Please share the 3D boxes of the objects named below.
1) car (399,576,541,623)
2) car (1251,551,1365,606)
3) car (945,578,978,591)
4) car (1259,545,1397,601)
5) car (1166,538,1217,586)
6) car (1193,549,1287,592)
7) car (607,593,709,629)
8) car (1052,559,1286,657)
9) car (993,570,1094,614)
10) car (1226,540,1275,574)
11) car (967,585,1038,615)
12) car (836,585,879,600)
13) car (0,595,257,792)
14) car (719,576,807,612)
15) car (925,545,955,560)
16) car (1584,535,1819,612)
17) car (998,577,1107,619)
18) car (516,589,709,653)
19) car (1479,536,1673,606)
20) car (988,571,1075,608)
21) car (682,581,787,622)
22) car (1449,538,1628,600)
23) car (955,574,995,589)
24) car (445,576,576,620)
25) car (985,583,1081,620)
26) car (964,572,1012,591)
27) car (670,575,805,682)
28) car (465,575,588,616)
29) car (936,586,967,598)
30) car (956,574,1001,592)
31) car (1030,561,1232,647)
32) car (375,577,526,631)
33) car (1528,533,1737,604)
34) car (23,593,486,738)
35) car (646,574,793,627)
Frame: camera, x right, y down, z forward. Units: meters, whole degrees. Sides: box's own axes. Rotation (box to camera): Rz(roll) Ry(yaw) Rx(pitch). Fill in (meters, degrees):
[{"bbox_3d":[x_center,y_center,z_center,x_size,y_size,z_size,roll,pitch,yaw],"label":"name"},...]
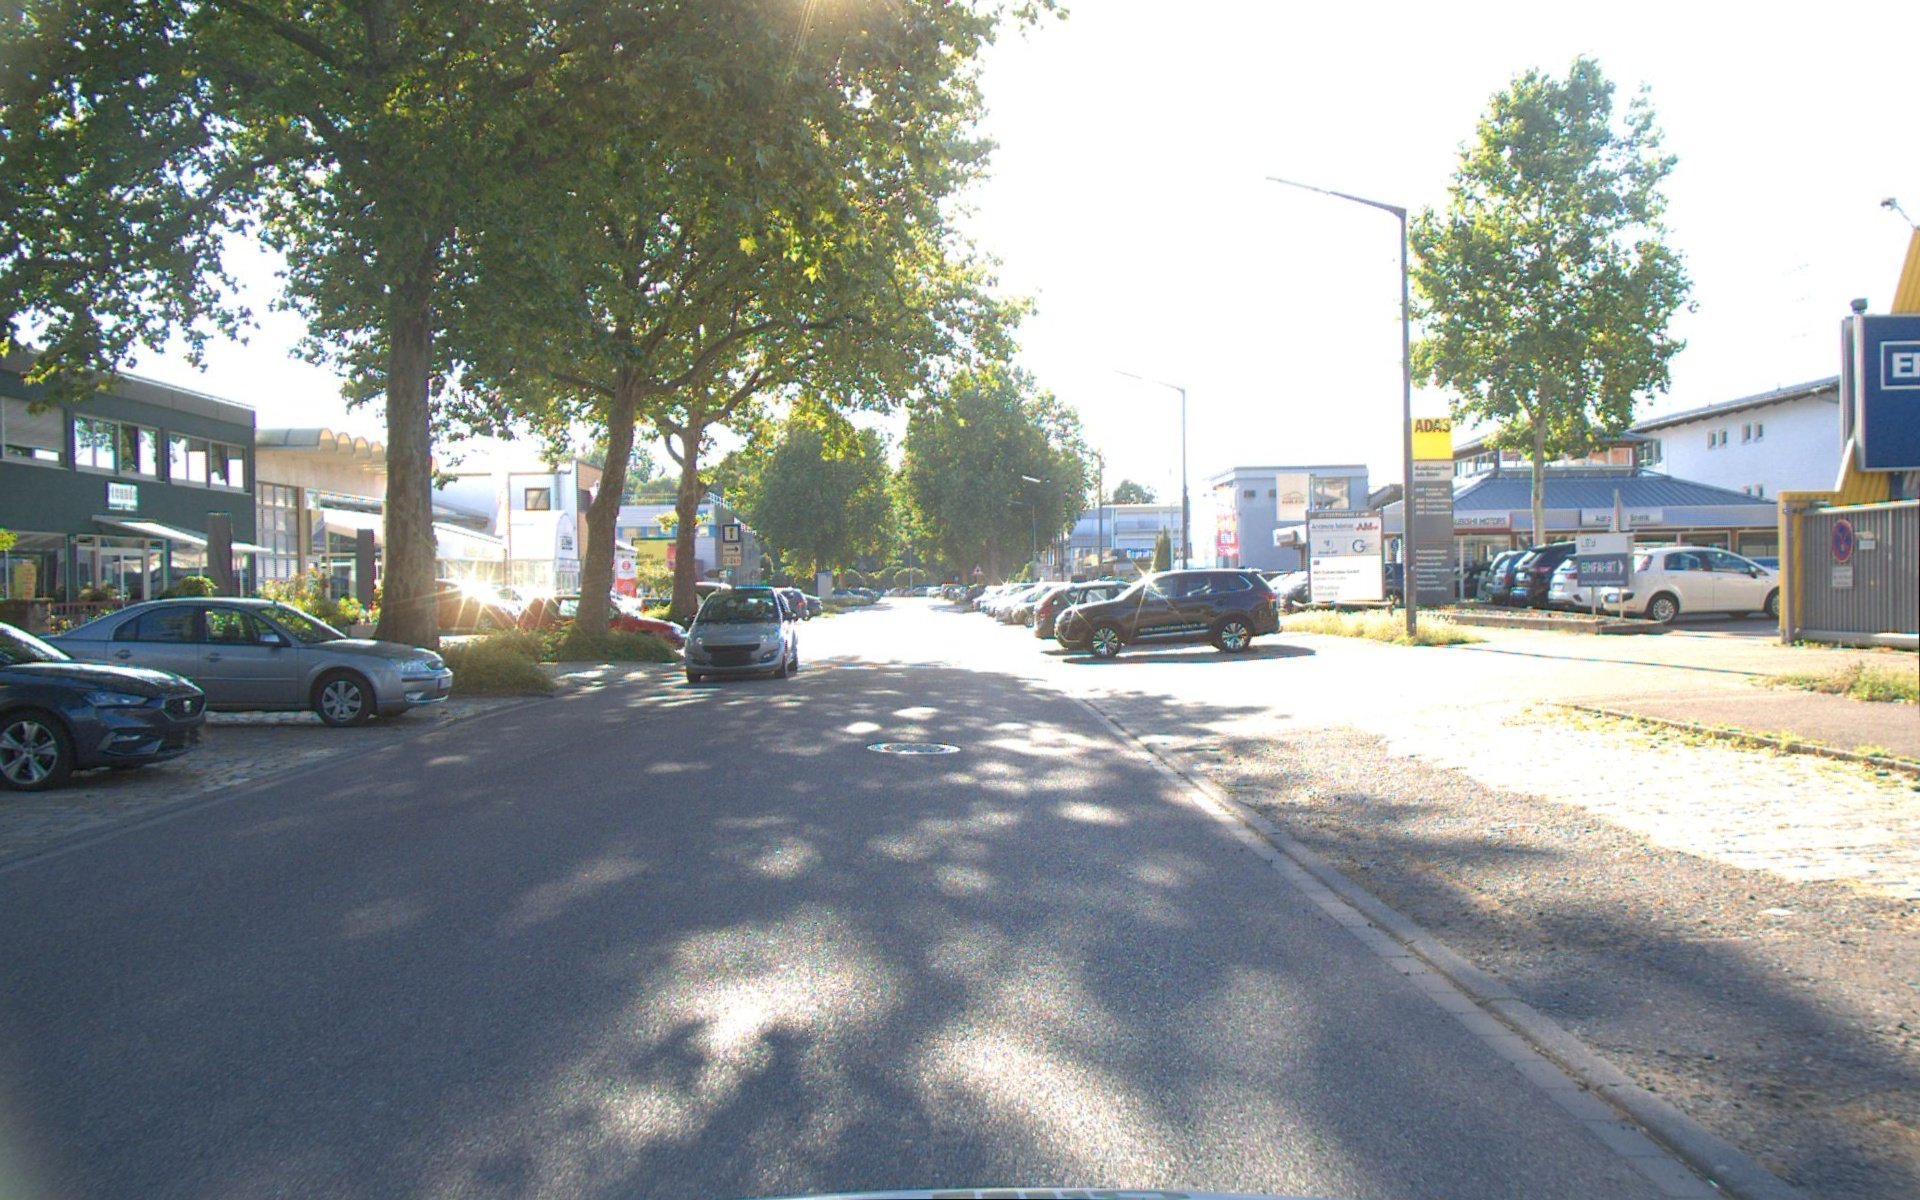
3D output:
[{"bbox_3d":[-17.864,-0.021,60.500,4.619,1.662,1.999,0,0,-3],"label":"car"},{"bbox_3d":[13.274,-0.839,63.189,3.854,1.931,2.202,-1,3,-2],"label":"car"},{"bbox_3d":[0.190,-1.909,200.785,3.906,1.440,1.826,-2,0,-1],"label":"car"},{"bbox_3d":[13.019,-0.953,58.673,4.404,1.931,2.201,0,0,-2],"label":"car"},{"bbox_3d":[13.072,-2.111,93.791,1.953,2.671,6.136,0,0,-1],"label":"car"},{"bbox_3d":[13.405,-1.407,79.397,4.060,1.802,2.000,-3,0,-1],"label":"car"},{"bbox_3d":[-15.093,0.538,82.866,4.845,1.718,1.999,0,0,-4],"label":"car"},{"bbox_3d":[4.236,0.148,34.122,4.507,1.607,2.000,-5,0,1],"label":"car"},{"bbox_3d":[3.431,-0.336,68.315,3.909,1.615,1.866,-3,1,-5],"label":"car"},{"bbox_3d":[16.250,-2.394,92.654,1.953,1.830,3.999,0,0,-1],"label":"car"},{"bbox_3d":[2.789,-0.004,108.273,4.436,1.701,1.752,-4,1,-5],"label":"car"},{"bbox_3d":[-10.726,-0.753,173.431,4.325,1.543,2.000,0,0,0],"label":"car"},{"bbox_3d":[-8.362,0.746,13.611,4.267,1.447,1.999,-1,1,-4],"label":"car"},{"bbox_3d":[-9.528,-0.290,80.278,4.147,1.684,2.200,0,0,-4],"label":"car"},{"bbox_3d":[-2.593,-6.215,216.281,3.906,1.807,1.826,-2,0,-1],"label":"car"},{"bbox_3d":[15.034,-0.532,33.673,3.909,1.523,1.998,0,0,-5],"label":"car"},{"bbox_3d":[3.376,-0.092,61.047,3.905,1.318,1.784,-3,1,1],"label":"car"},{"bbox_3d":[-8.240,0.480,39.536,4.209,1.471,1.999,0,0,-2],"label":"car"},{"bbox_3d":[14.760,-0.695,39.756,3.909,1.623,1.998,0,0,-5],"label":"car"},{"bbox_3d":[3.865,-0.581,90.049,4.466,1.625,2.200,-4,0,-4],"label":"car"},{"bbox_3d":[-9.457,0.057,69.617,4.218,1.684,2.200,0,0,-4],"label":"car"},{"bbox_3d":[14.879,-0.788,42.648,3.909,1.545,1.998,0,0,-5],"label":"car"},{"bbox_3d":[1.516,-1.868,166.216,3.906,1.440,1.826,-2,0,-1],"label":"car"},{"bbox_3d":[-17.709,-0.083,65.307,4.624,1.671,1.999,0,0,-3],"label":"car"},{"bbox_3d":[3.318,0.063,75.357,4.160,1.633,1.744,0,0,-6],"label":"car"},{"bbox_3d":[2.327,-1.534,138.010,3.906,1.440,2.000,-2,0,-1],"label":"car"},{"bbox_3d":[-3.721,0.438,28.262,1.801,1.598,3.801,-3,1,-1],"label":"car"},{"bbox_3d":[-17.754,-0.190,67.917,4.568,1.620,1.927,0,0,-3],"label":"car"},{"bbox_3d":[-1.048,-1.030,212.704,3.906,1.440,1.826,-2,0,-1],"label":"car"},{"bbox_3d":[1.595,-1.489,145.336,3.906,1.440,1.826,-2,0,-1],"label":"car"},{"bbox_3d":[4.061,0.089,39.769,4.509,1.641,1.999,-5,0,-2],"label":"car"},{"bbox_3d":[-17.710,0.119,57.661,4.651,1.851,1.999,0,0,-3],"label":"car"},{"bbox_3d":[15.014,-0.690,37.049,3.909,1.545,1.951,0,0,-5],"label":"car"},{"bbox_3d":[-8.094,0.721,19.335,4.507,1.446,2.000,-1,2,-2],"label":"car"},{"bbox_3d":[-8.882,0.016,61.381,5.153,1.931,2.201,0,0,-2],"label":"car"}]
